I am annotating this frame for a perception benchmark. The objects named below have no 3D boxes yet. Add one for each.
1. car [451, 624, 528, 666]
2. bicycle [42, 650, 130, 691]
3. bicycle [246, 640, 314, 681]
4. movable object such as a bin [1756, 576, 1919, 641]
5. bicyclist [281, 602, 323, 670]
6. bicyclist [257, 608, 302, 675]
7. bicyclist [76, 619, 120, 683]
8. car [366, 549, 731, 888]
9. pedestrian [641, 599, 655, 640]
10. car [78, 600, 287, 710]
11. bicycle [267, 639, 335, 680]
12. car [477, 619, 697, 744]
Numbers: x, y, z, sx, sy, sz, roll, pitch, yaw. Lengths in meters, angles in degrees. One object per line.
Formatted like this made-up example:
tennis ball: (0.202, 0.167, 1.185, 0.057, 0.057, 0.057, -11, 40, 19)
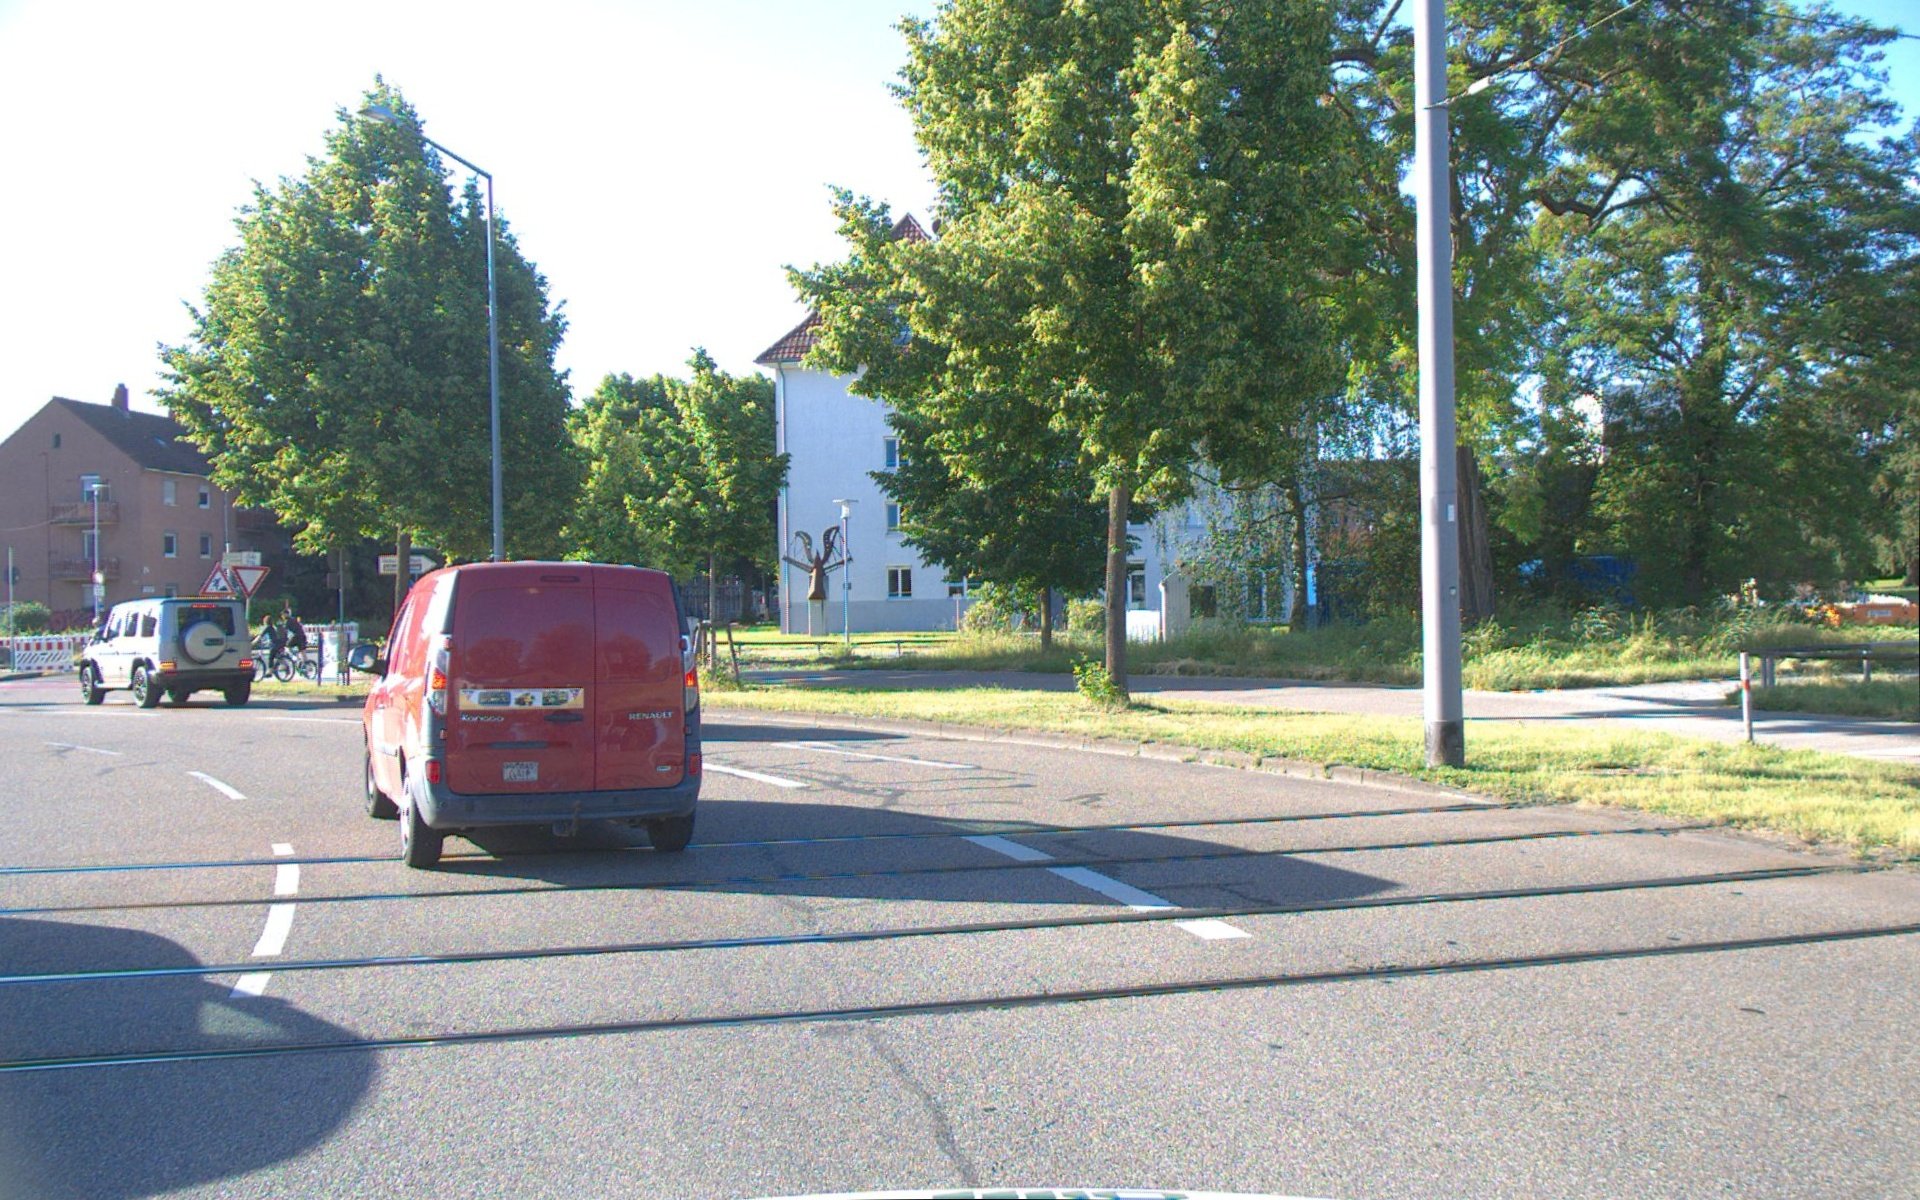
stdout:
car: (-21.936, 2.120, 77.240, 1.951, 1.904, 4.003, 0, -2, 9)
bicycle: (-23.948, 1.931, 45.326, 1.964, 1.045, 0.742, 0, 2, -5)
bicycle: (-17.466, 1.547, 42.483, 1.784, 1.046, 0.659, -1, -2, 30)
movable object such as a bin: (28.248, 0.283, 52.507, 4.905, 1.982, 2.238, 0, -2, -3)
bicyclist: (-17.395, 0.950, 43.731, 0.794, 1.760, 0.654, -2, -1, 27)
bicyclist: (-17.484, 1.079, 42.491, 0.879, 1.694, 0.659, -2, -2, 29)
bicyclist: (-23.618, 1.383, 45.330, 0.835, 1.710, 0.742, 0, 2, -5)
car: (-2.918, 0.672, 11.122, 1.779, 1.845, 3.781, 1, -1, -24)
pedestrian: (-15.571, 0.960, 82.535, 0.460, 2.049, 0.455, -1, 0, 15)
car: (-14.753, 1.022, 31.252, 4.669, 1.930, 1.991, -2, -1, 43)
bicycle: (-17.432, 1.577, 43.749, 1.782, 1.046, 0.659, -1, -2, 26)
car: (-4.983, 1.020, 21.699, 1.696, 1.461, 4.109, 0, -1, -30)
